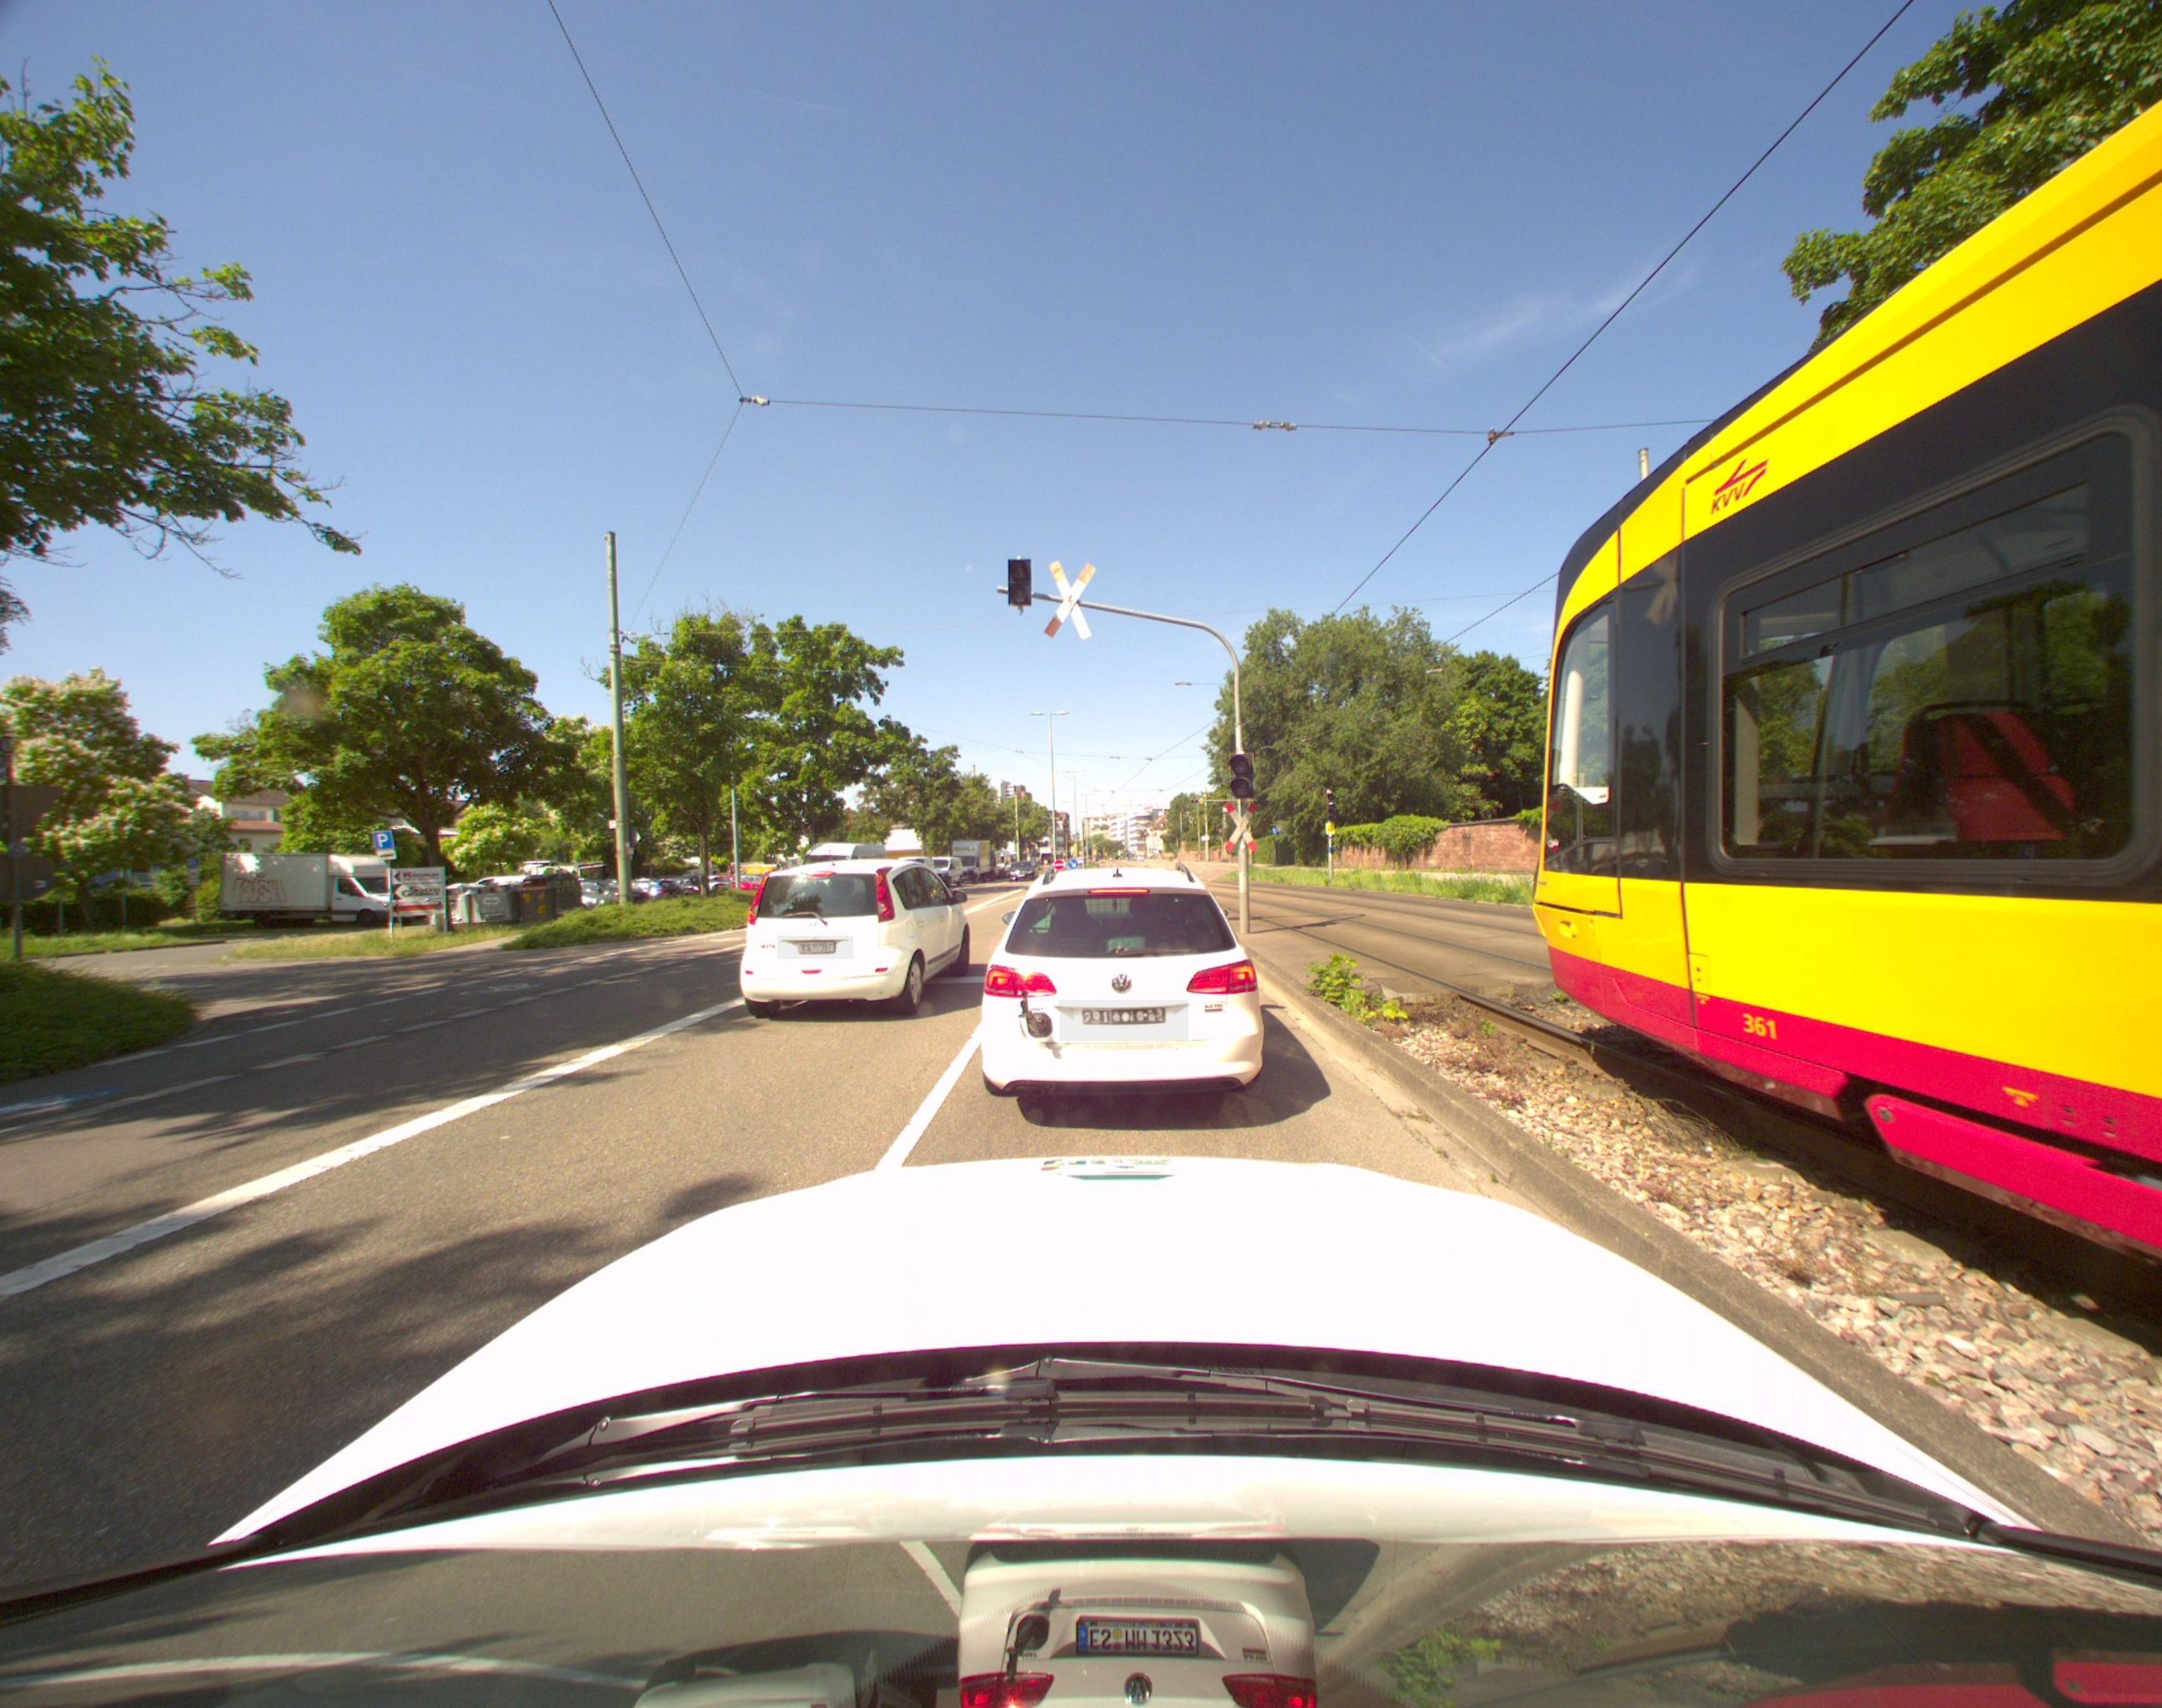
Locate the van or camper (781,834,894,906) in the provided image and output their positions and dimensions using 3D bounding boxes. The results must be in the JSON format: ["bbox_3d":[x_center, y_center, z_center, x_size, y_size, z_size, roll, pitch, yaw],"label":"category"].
[{"bbox_3d":[-9.542,0.575,32.666,2.248,2.514,6.152,-3,0,3],"label":"van or camper"}]

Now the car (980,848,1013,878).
[{"bbox_3d":[-7.781,0.823,75.250,2.187,2.630,5.982,-1,0,2],"label":"car"}]

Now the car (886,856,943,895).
[{"bbox_3d":[-9.192,1.137,45.322,2.190,1.940,5.180,-3,0,-2],"label":"car"}]

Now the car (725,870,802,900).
[{"bbox_3d":[-19.460,1.889,49.986,3.973,1.544,1.664,-3,-1,1],"label":"car"}]

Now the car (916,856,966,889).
[{"bbox_3d":[-8.935,1.128,52.322,2.189,1.940,5.184,-3,0,0],"label":"car"}]

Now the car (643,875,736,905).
[{"bbox_3d":[-20.111,1.852,41.959,3.901,1.271,1.664,-3,-1,1],"label":"car"}]

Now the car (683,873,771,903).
[{"bbox_3d":[-19.390,1.856,44.722,3.972,1.409,1.733,-3,0,1],"label":"car"}]

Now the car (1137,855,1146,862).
[{"bbox_3d":[18.010,1.263,242.710,2.118,2.013,5.285,-3,0,2],"label":"car"}]

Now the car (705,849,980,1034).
[{"bbox_3d":[-2.359,0.781,9.199,1.723,1.596,4.014,-1,0,3],"label":"car"}]

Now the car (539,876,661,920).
[{"bbox_3d":[-19.879,1.820,33.771,3.974,1.544,1.663,-3,-1,0],"label":"car"}]

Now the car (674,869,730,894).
[{"bbox_3d":[-33.868,2.422,72.902,3.976,2.003,1.909,-3,0,-2],"label":"car"}]

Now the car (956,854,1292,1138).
[{"bbox_3d":[0.313,0.748,6.229,1.771,1.490,3.849,0,0,3],"label":"car"}]

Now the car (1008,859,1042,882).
[{"bbox_3d":[-3.875,1.105,57.275,1.777,1.409,4.310,-2,1,4],"label":"car"}]

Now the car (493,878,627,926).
[{"bbox_3d":[-19.858,1.799,31.153,3.974,1.544,1.663,-3,-1,0],"label":"car"}]

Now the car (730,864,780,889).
[{"bbox_3d":[-31.124,2.136,77.824,3.976,2.200,1.909,-3,0,-2],"label":"car"}]

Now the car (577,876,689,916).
[{"bbox_3d":[-19.941,1.853,36.358,3.974,1.544,1.663,-3,-1,0],"label":"car"}]

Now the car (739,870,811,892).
[{"bbox_3d":[-19.575,1.720,52.194,3.874,1.153,1.664,-3,-1,1],"label":"car"}]

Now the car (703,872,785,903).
[{"bbox_3d":[-19.495,1.934,47.213,3.973,1.544,1.664,-3,0,1],"label":"car"}]

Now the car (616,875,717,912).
[{"bbox_3d":[-20.100,1.887,39.622,3.973,1.544,1.664,-3,-1,1],"label":"car"}]

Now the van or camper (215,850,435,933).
[{"bbox_3d":[-32.436,1.557,35.143,6.928,3.244,2.581,-2,0,-1],"label":"van or camper"}]

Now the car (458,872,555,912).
[{"bbox_3d":[-31.674,2.079,44.984,3.976,1.891,1.784,-3,0,-2],"label":"car"}]

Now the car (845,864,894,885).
[{"bbox_3d":[-19.267,1.862,74.373,3.974,1.694,1.663,-3,-1,0],"label":"car"}]

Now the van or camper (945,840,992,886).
[{"bbox_3d":[-8.292,0.617,60.608,2.186,3.241,6.777,-1,0,3],"label":"van or camper"}]

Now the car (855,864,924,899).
[{"bbox_3d":[-9.078,1.268,38.968,1.925,1.454,4.887,-3,0,2],"label":"car"}]

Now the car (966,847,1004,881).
[{"bbox_3d":[-8.024,0.810,68.535,2.187,2.668,6.083,-1,0,2],"label":"car"}]
